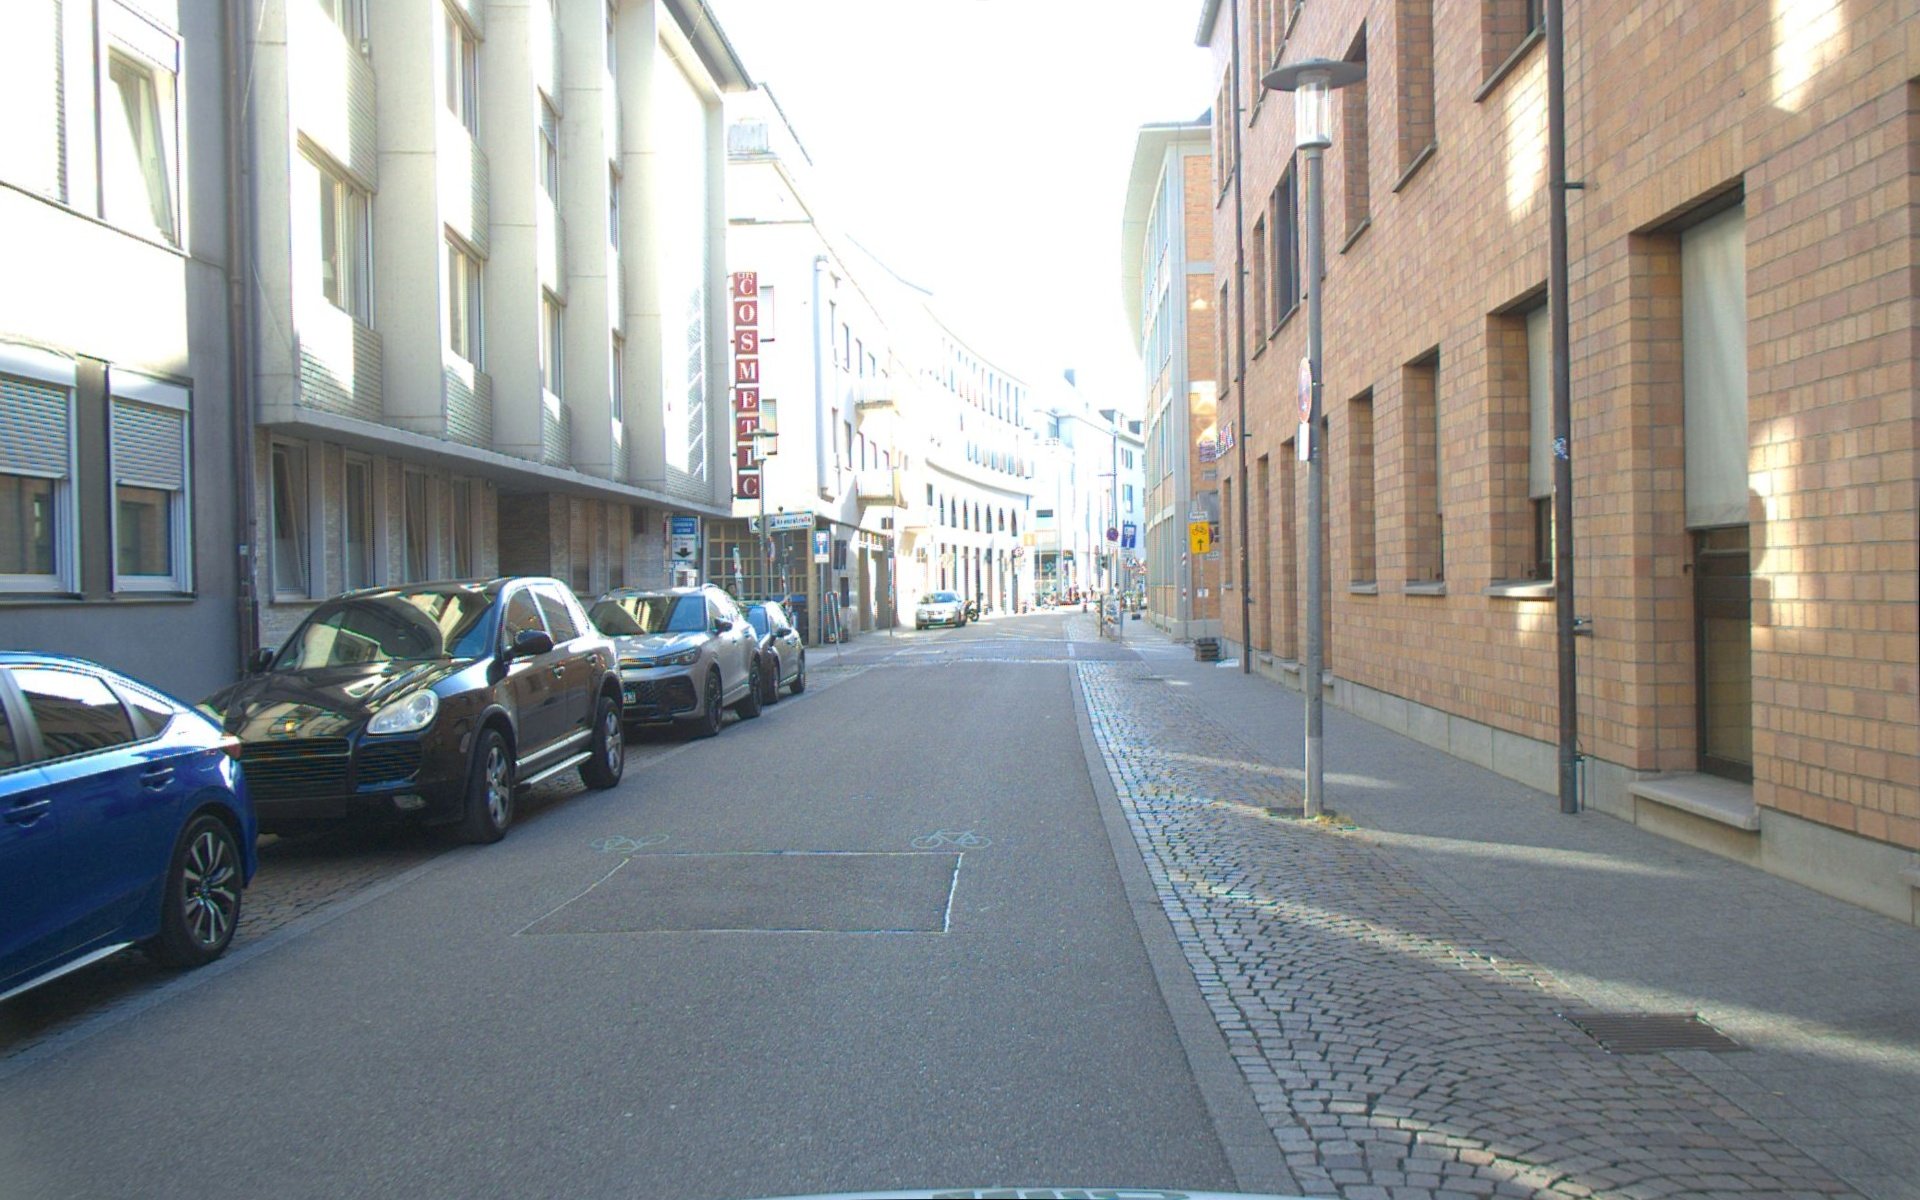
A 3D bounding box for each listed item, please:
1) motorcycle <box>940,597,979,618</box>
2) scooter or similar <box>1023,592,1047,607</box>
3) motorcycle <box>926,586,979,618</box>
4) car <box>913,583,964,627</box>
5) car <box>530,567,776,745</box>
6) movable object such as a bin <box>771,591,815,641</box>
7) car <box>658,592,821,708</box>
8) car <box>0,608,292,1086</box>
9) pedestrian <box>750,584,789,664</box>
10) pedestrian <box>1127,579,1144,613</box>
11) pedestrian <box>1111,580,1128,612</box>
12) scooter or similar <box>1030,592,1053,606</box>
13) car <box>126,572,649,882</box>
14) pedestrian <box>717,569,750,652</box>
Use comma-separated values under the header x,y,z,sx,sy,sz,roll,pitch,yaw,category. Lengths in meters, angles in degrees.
x,y,z,sx,sy,sz,roll,pitch,yaw,category
-0.013,0.326,72.174,1.655,0.874,0.595,0,0,8,motorcycle
4.909,-0.016,107.583,0.516,0.944,2.221,0,1,33,scooter or similar
-0.358,0.074,76.070,2.341,1.340,0.862,-3,0,3,motorcycle
-0.828,0.168,64.769,1.700,1.634,3.534,0,1,4,car
-3.418,0.550,19.259,1.851,1.772,4.392,-2,1,2,car
-4.823,0.463,47.855,0.927,1.444,0.870,1,-1,-44,movable object such as a bin
-3.236,0.682,24.975,1.614,1.486,4.001,-4,0,3,car
-4.161,0.880,5.650,1.851,1.556,4.341,-2,1,1,car
-3.994,0.506,34.720,0.640,1.654,0.451,-1,0,-39,pedestrian
9.797,-0.225,92.300,0.651,1.901,0.754,1,0,-27,pedestrian
9.411,-0.221,97.551,0.651,1.901,0.779,1,0,-27,pedestrian
5.464,-0.064,110.792,0.516,0.944,2.221,0,1,33,scooter or similar
-3.682,0.688,11.661,1.850,1.705,4.555,-2,1,3,car
-4.838,0.224,35.367,0.439,1.769,0.552,-1,0,26,pedestrian
